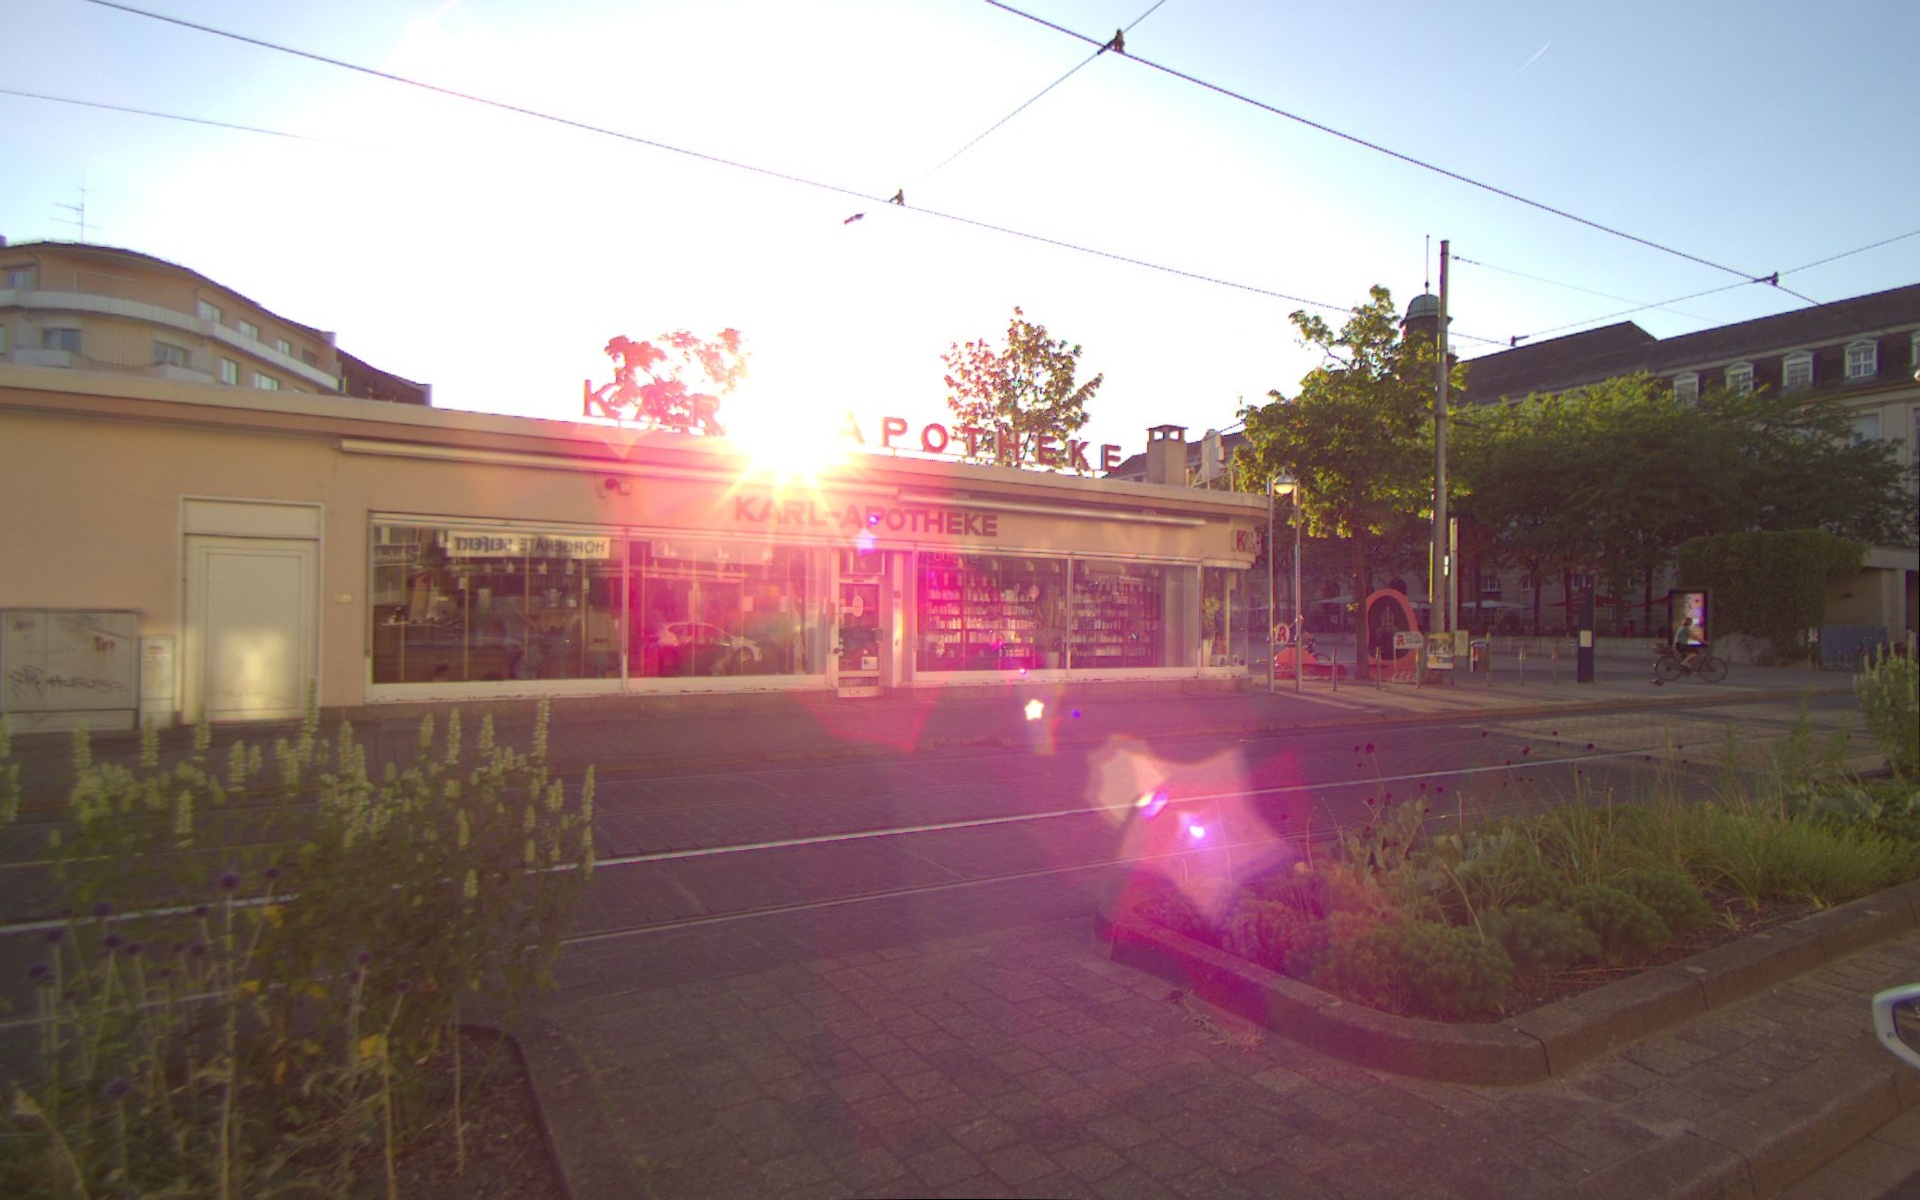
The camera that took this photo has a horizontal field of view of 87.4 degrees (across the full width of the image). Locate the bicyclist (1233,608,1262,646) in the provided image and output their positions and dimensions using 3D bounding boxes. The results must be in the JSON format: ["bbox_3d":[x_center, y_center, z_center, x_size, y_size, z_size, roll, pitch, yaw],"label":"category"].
[{"bbox_3d":[15.869,1.484,55.440,1.130,2.045,0.954,3,-2,-31],"label":"bicyclist"}]

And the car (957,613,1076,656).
[{"bbox_3d":[2.346,1.446,41.263,4.626,1.585,1.790,3,-2,-30],"label":"car"}]

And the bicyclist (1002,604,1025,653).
[{"bbox_3d":[1.775,0.959,33.610,0.689,1.597,0.754,1,-2,-1],"label":"bicyclist"}]

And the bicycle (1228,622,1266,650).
[{"bbox_3d":[15.869,1.997,55.589,0.573,1.495,2.230,2,-2,-31],"label":"bicycle"}]

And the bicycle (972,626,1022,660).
[{"bbox_3d":[1.247,1.458,34.026,1.677,1.126,0.496,0,-2,0],"label":"bicycle"}]

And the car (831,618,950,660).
[{"bbox_3d":[-2.619,1.473,38.013,4.202,1.427,1.647,3,-2,-31],"label":"car"}]

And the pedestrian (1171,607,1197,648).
[{"bbox_3d":[11.714,1.437,52.487,0.922,2.088,0.931,0,0,-35],"label":"pedestrian"}]

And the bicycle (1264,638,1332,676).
[{"bbox_3d":[10.199,1.713,30.301,1.893,1.126,0.460,-1,-2,29],"label":"bicycle"}]

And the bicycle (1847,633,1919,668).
[{"bbox_3d":[35.265,1.919,38.191,0.573,1.271,2.231,3,-2,-30],"label":"bicycle"}]

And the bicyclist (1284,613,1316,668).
[{"bbox_3d":[10.258,1.224,30.293,0.788,1.632,0.738,-2,-3,29],"label":"bicyclist"}]

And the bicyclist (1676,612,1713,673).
[{"bbox_3d":[20.956,1.211,28.675,0.691,1.690,0.628,1,-2,20],"label":"bicyclist"}]

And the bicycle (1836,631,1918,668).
[{"bbox_3d":[34.032,1.826,37.308,0.573,1.317,2.187,3,-2,-30],"label":"bicycle"}]

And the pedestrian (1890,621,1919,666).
[{"bbox_3d":[41.190,1.889,43.773,0.782,1.959,0.721,3,-2,-27],"label":"pedestrian"}]

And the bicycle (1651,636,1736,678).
[{"bbox_3d":[20.916,1.614,28.678,1.898,1.126,0.461,1,-2,20],"label":"bicycle"}]

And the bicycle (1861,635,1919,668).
[{"bbox_3d":[36.633,1.986,39.123,0.578,1.248,2.231,2,-2,-30],"label":"bicycle"}]
